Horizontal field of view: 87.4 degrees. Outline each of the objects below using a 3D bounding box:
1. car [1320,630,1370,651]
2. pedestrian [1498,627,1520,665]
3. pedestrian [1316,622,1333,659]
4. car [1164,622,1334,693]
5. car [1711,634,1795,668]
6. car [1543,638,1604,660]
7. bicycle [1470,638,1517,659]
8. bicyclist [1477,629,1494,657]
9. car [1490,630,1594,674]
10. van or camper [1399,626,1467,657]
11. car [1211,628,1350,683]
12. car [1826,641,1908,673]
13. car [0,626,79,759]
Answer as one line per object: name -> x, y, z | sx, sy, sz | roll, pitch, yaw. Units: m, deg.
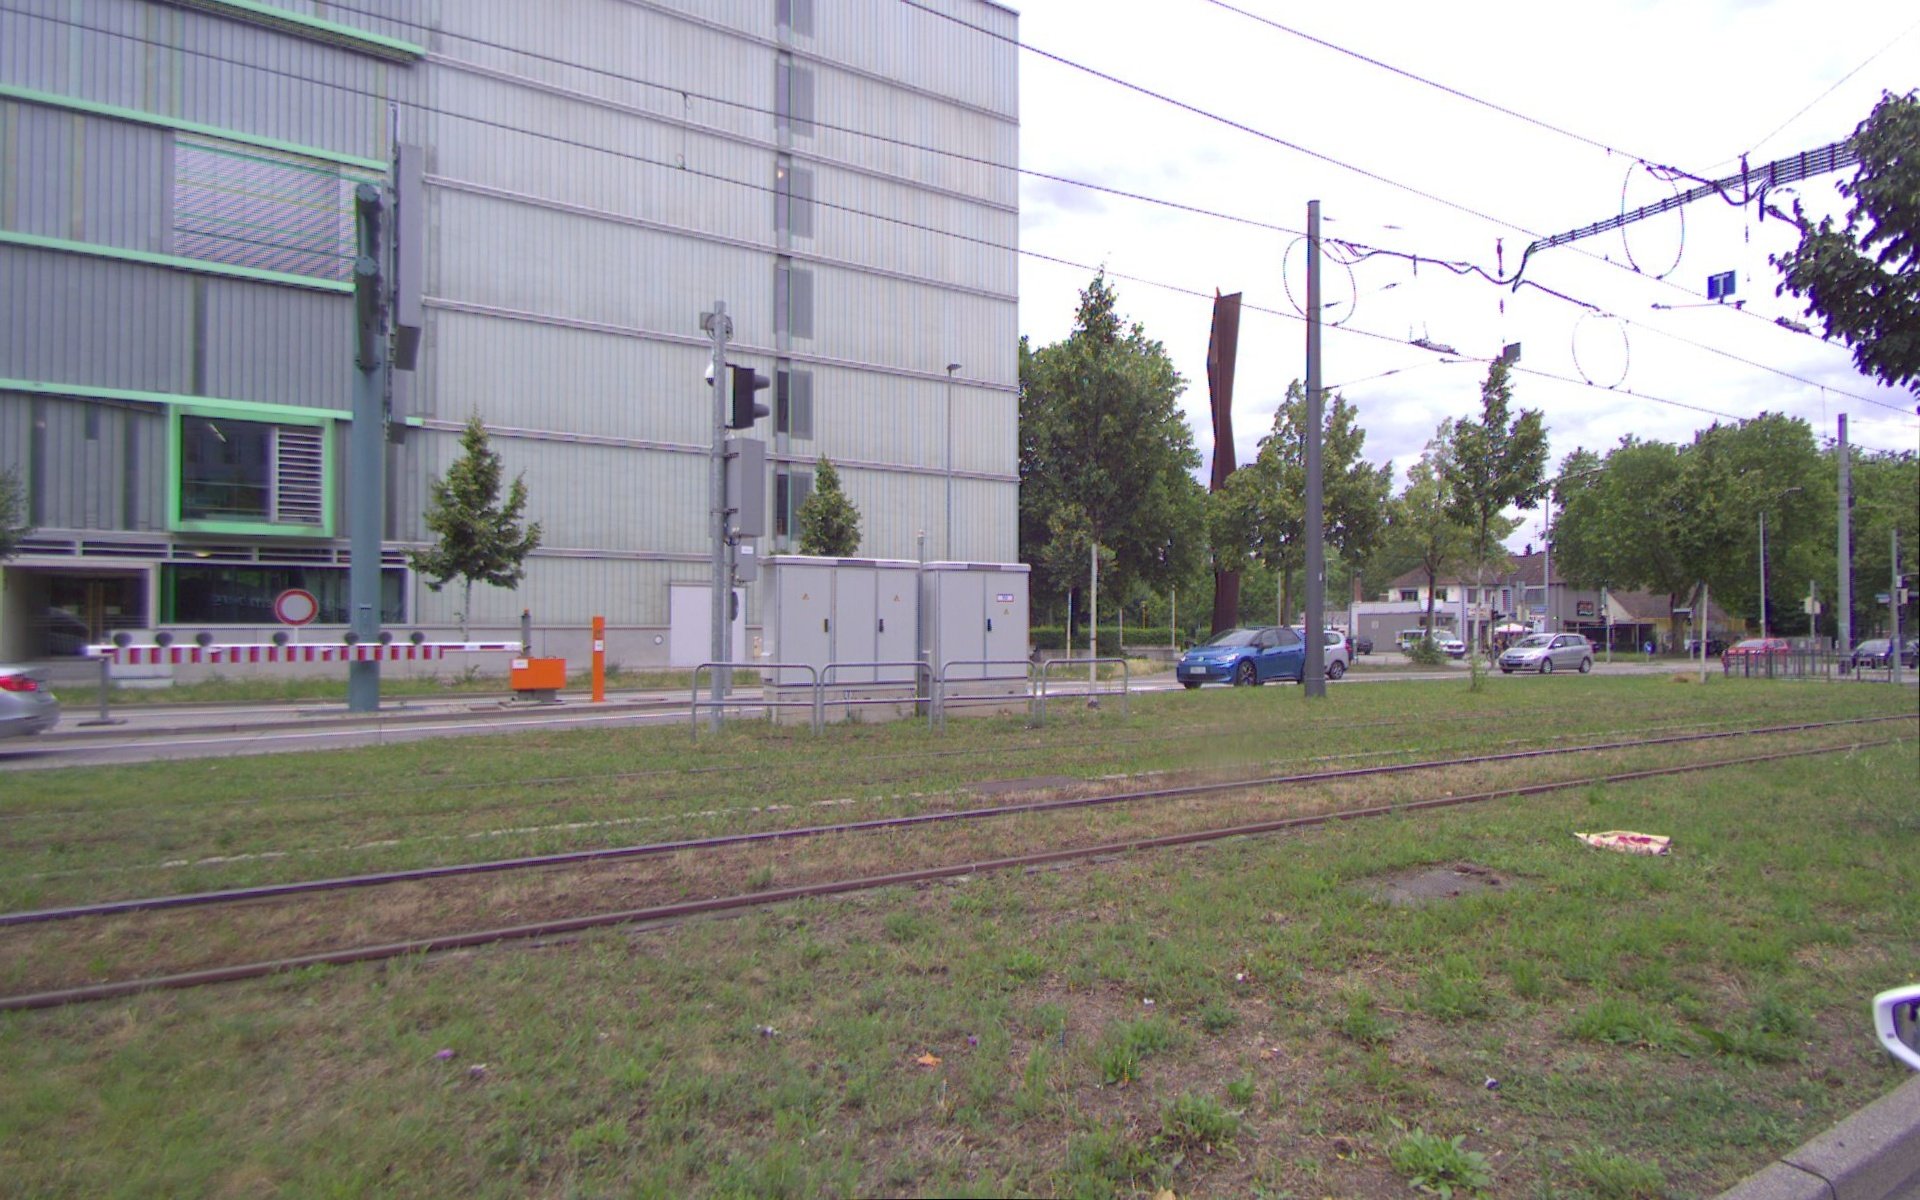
car -> 35.517, 3.753, 92.750 | 1.974, 1.873, 3.973 | 1, -1, -27
pedestrian -> 26.882, 2.238, 49.207 | 0.769, 1.856, 0.771 | -1, -1, 43
pedestrian -> 20.700, 2.292, 57.114 | 0.887, 2.040, 0.954 | 0, -1, 18
car -> 7.435, 1.394, 25.638 | 4.651, 1.609, 1.947 | 1, -1, -41
car -> 39.475, 2.502, 49.980 | 4.275, 1.591, 1.788 | 1, -1, -29
car -> 54.966, 4.353, 90.097 | 2.078, 1.840, 4.267 | 1, -1, -25
bicycle -> 32.949, 3.003, 62.058 | 2.474, 1.218, 0.738 | -1, -1, 35
bicyclist -> 32.600, 2.673, 62.292 | 0.838, 1.744, 0.719 | 0, -1, 34
car -> 23.475, 2.069, 40.460 | 4.623, 1.665, 1.711 | 1, -2, -33
van or camper -> 32.504, 2.796, 69.184 | 2.416, 2.040, 5.283 | 0, -1, 2
car -> 10.439, 1.784, 32.597 | 4.529, 1.591, 1.786 | 2, 0, -32
car -> 43.816, 2.715, 48.499 | 4.692, 1.445, 1.655 | 1, -3, -32
car -> -12.737, 1.048, 10.674 | 4.872, 1.464, 1.717 | 1, -3, -35
